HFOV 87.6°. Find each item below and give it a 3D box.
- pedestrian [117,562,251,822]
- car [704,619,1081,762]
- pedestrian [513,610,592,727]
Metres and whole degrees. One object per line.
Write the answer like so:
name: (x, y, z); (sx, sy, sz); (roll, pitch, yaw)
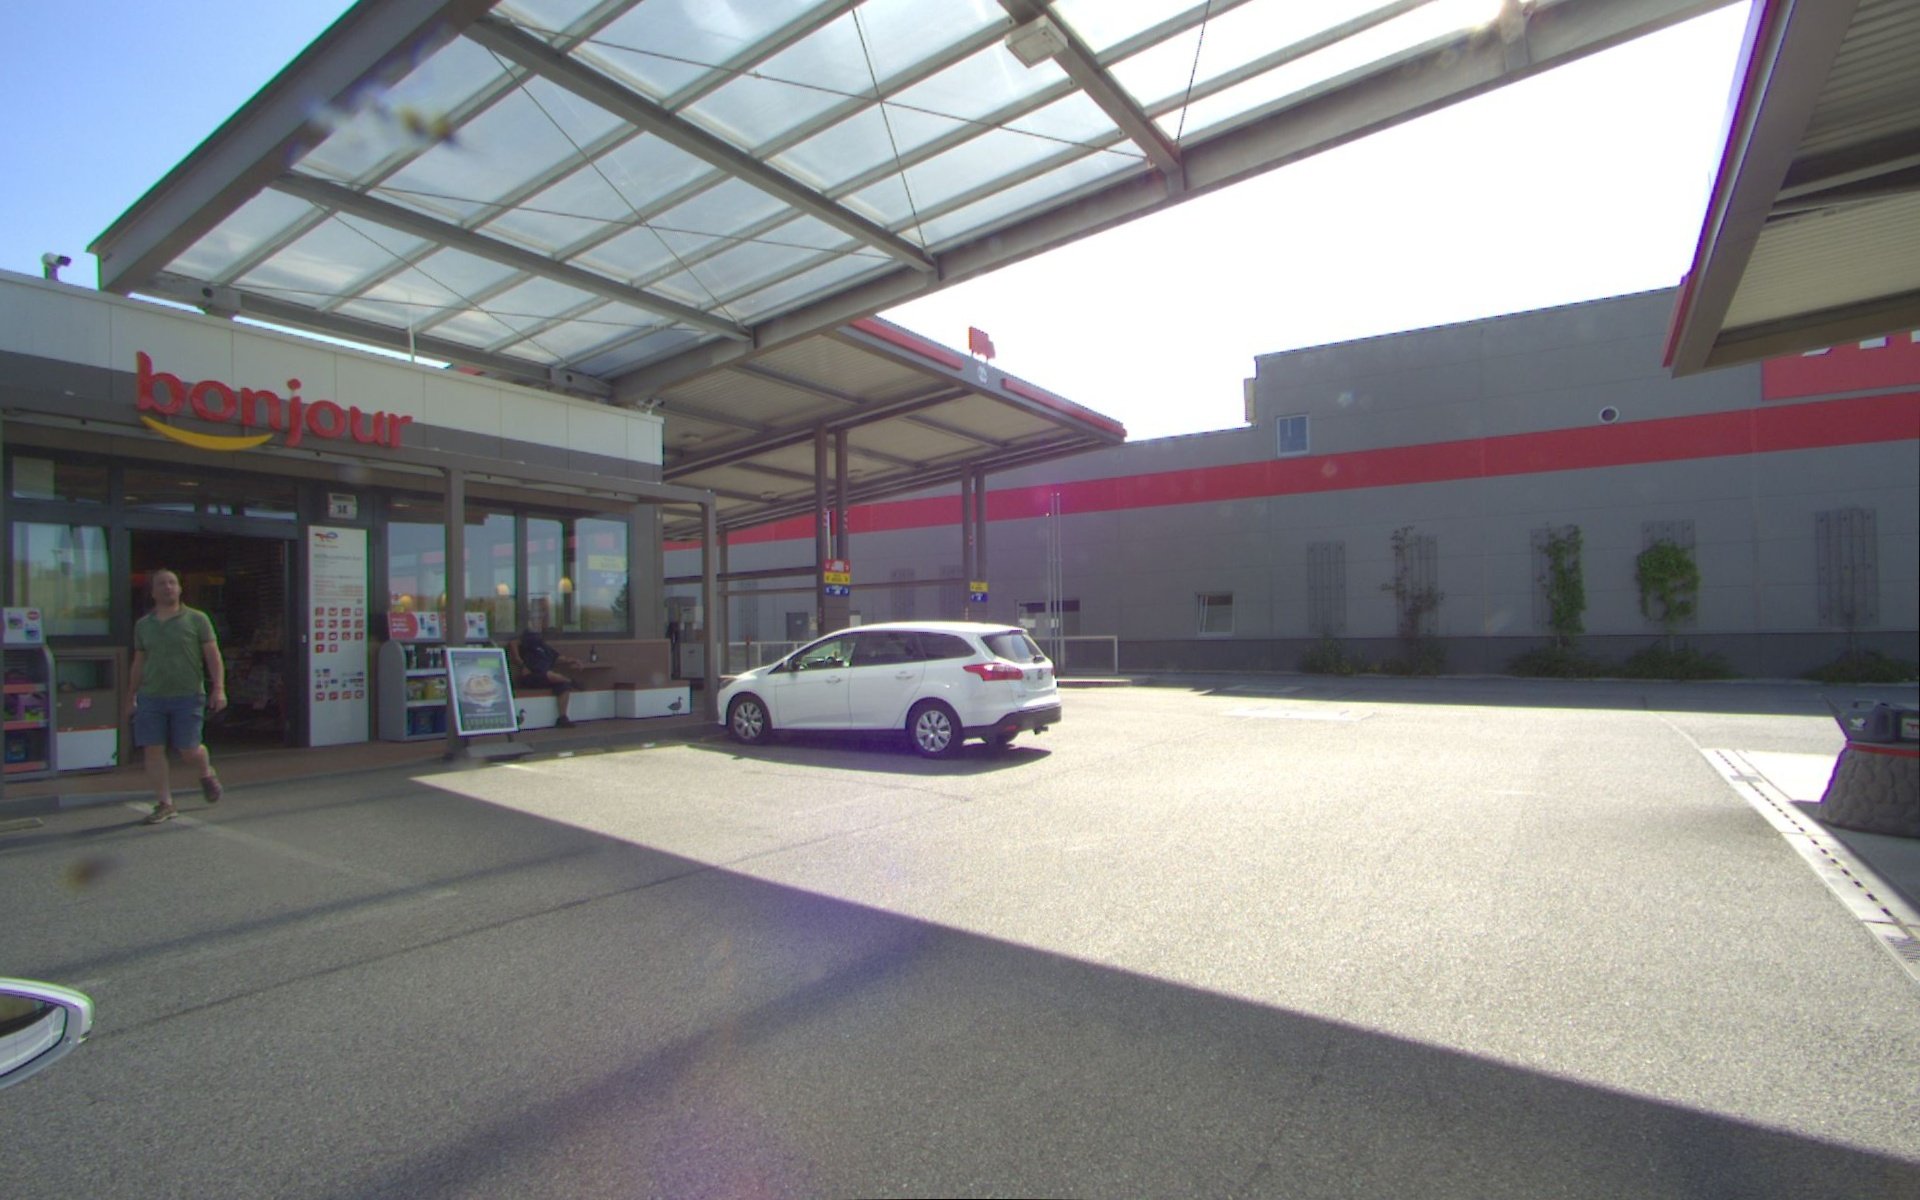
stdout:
pedestrian: (-5.823, 0.656, 7.560); (0.693, 1.821, 0.858); (0, -1, -31)
car: (-0.845, 0.985, 12.147); (4.253, 1.475, 1.829); (-1, -1, 27)
pedestrian: (-5.216, 0.858, 12.831); (0.663, 1.450, 0.700); (-1, -1, 32)
